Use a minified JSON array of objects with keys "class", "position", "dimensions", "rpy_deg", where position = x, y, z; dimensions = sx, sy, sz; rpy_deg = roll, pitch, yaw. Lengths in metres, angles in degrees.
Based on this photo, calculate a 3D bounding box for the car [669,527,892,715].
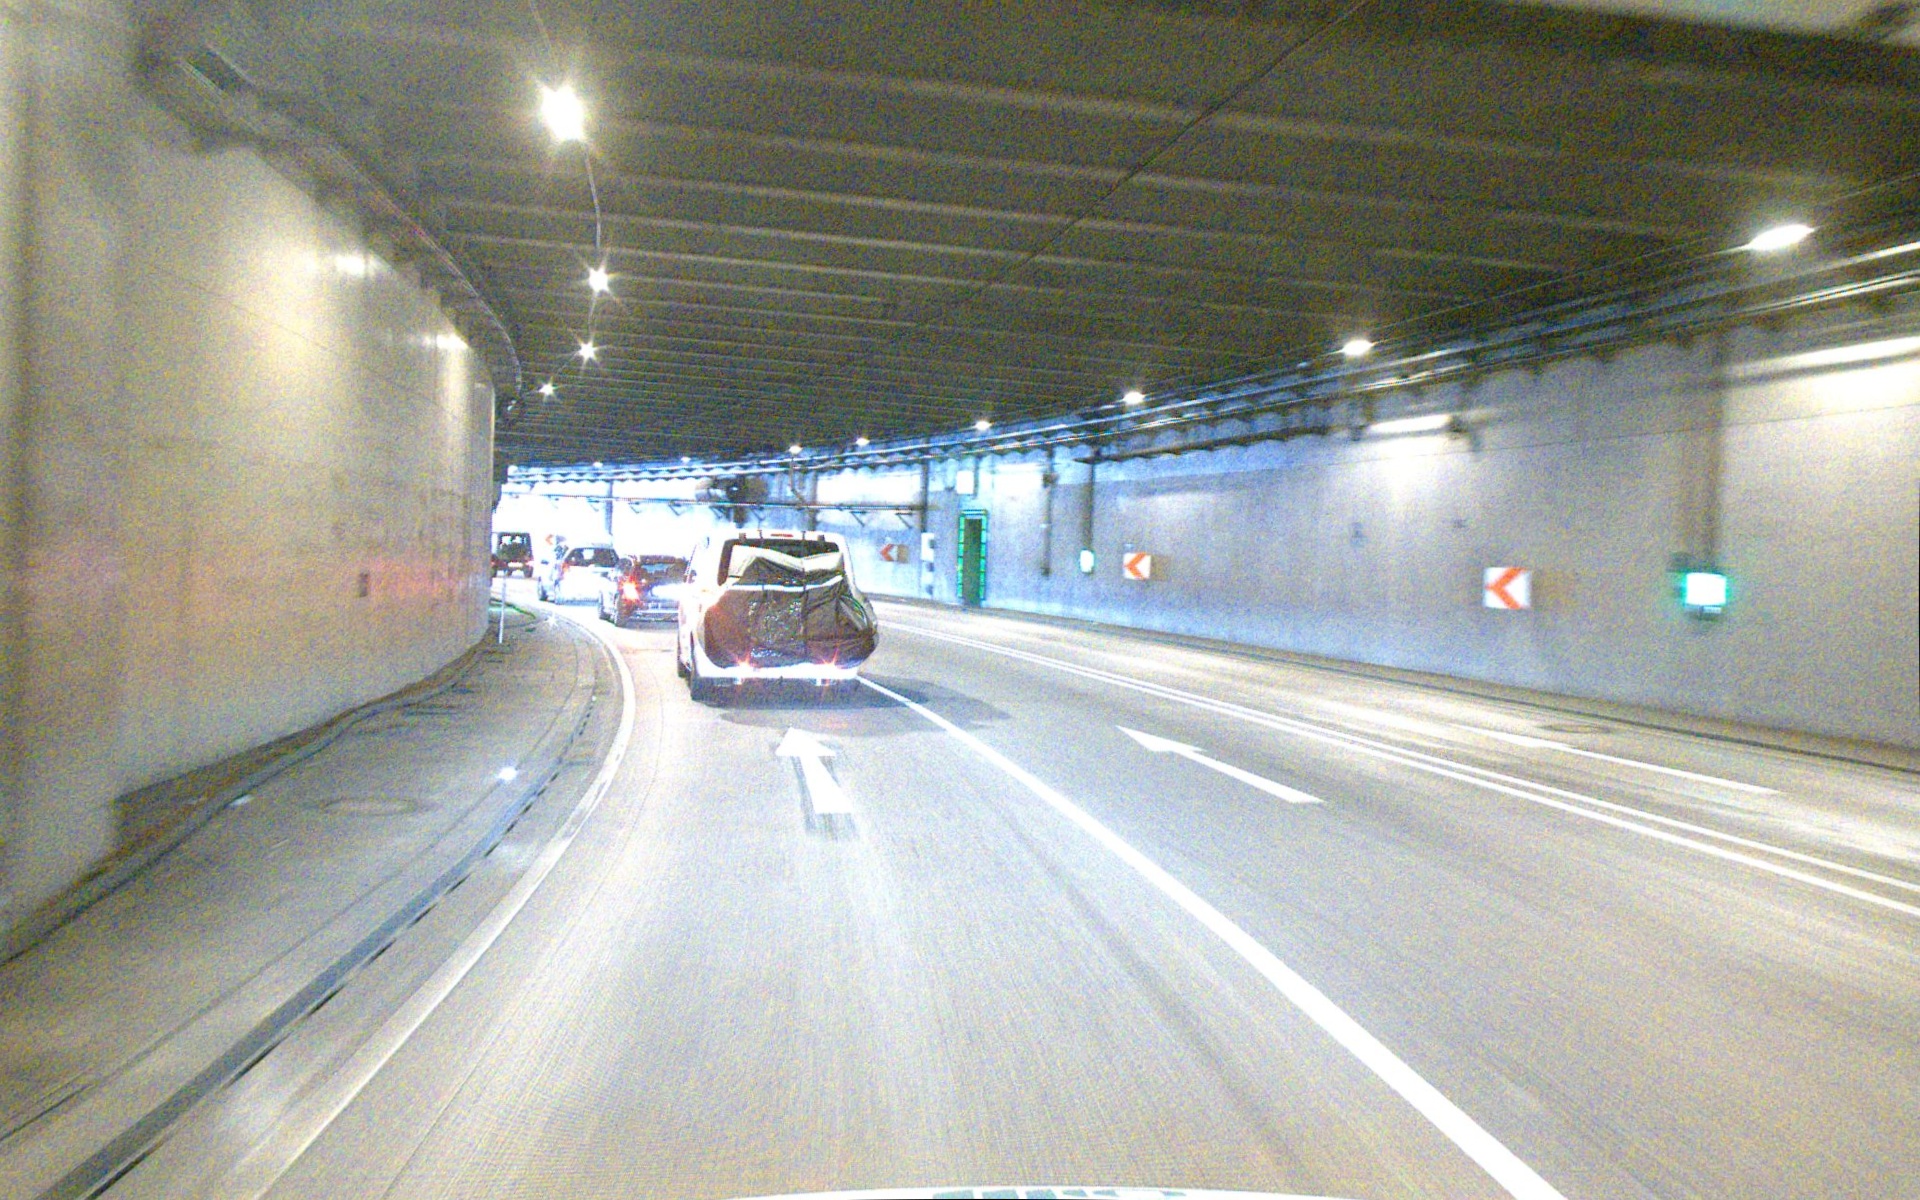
[{"class":"car","position":[-2.261,0.137,19.340],"dimensions":[1.959,1.879,5.284],"rpy_deg":[1,2,-13]}]

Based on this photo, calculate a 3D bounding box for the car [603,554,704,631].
[{"class":"car","position":[-6.193,-0.184,33.230],"dimensions":[1.578,1.419,3.261],"rpy_deg":[0,2,-18]}]

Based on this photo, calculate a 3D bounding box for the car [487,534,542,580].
[{"class":"car","position":[-17.052,-1.640,63.228],"dimensions":[1.581,1.658,3.333],"rpy_deg":[1,1,-22]}]

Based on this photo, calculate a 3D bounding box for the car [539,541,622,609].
[{"class":"car","position":[-9.781,-0.651,42.517],"dimensions":[1.580,1.621,3.335],"rpy_deg":[2,0,-21]}]
